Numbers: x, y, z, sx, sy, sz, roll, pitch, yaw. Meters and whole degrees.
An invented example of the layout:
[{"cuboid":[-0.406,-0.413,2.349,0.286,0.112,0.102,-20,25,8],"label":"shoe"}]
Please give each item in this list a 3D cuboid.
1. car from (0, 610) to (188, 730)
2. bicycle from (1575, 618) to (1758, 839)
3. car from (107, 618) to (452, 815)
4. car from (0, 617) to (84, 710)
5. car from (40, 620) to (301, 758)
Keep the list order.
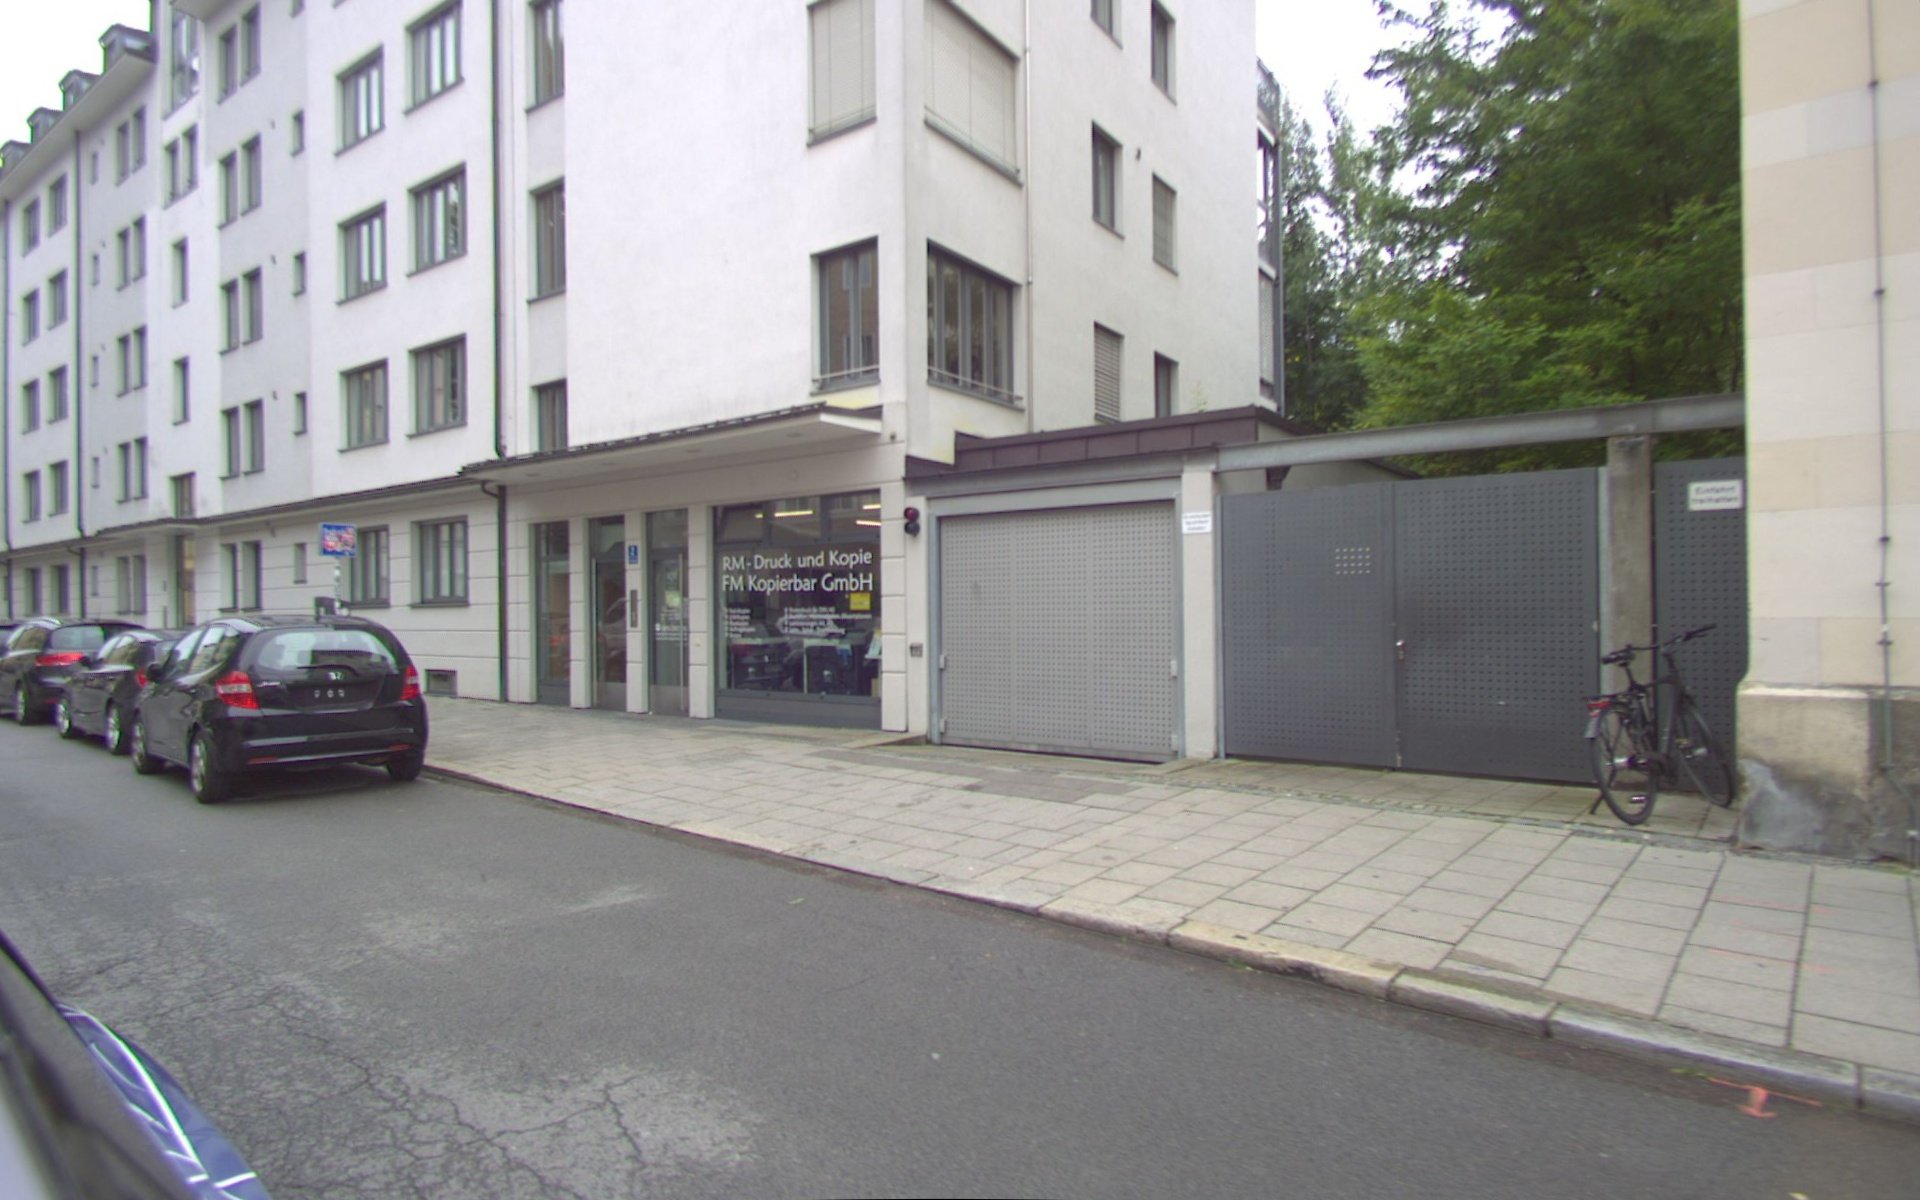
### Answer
[{"cuboid":[-14.197,1.077,16.168,4.071,1.671,1.855,-3,-3,36],"label":"car"},{"cuboid":[4.398,0.714,6.258,1.690,1.187,0.476,0,-2,-40],"label":"bicycle"},{"cuboid":[-6.542,0.966,9.569,4.013,1.464,1.732,-3,-3,41],"label":"car"},{"cuboid":[-18.982,1.219,19.606,4.577,1.671,1.857,-2,-3,33],"label":"car"},{"cuboid":[-9.989,1.040,12.715,4.011,1.464,1.733,-3,-3,39],"label":"car"}]
